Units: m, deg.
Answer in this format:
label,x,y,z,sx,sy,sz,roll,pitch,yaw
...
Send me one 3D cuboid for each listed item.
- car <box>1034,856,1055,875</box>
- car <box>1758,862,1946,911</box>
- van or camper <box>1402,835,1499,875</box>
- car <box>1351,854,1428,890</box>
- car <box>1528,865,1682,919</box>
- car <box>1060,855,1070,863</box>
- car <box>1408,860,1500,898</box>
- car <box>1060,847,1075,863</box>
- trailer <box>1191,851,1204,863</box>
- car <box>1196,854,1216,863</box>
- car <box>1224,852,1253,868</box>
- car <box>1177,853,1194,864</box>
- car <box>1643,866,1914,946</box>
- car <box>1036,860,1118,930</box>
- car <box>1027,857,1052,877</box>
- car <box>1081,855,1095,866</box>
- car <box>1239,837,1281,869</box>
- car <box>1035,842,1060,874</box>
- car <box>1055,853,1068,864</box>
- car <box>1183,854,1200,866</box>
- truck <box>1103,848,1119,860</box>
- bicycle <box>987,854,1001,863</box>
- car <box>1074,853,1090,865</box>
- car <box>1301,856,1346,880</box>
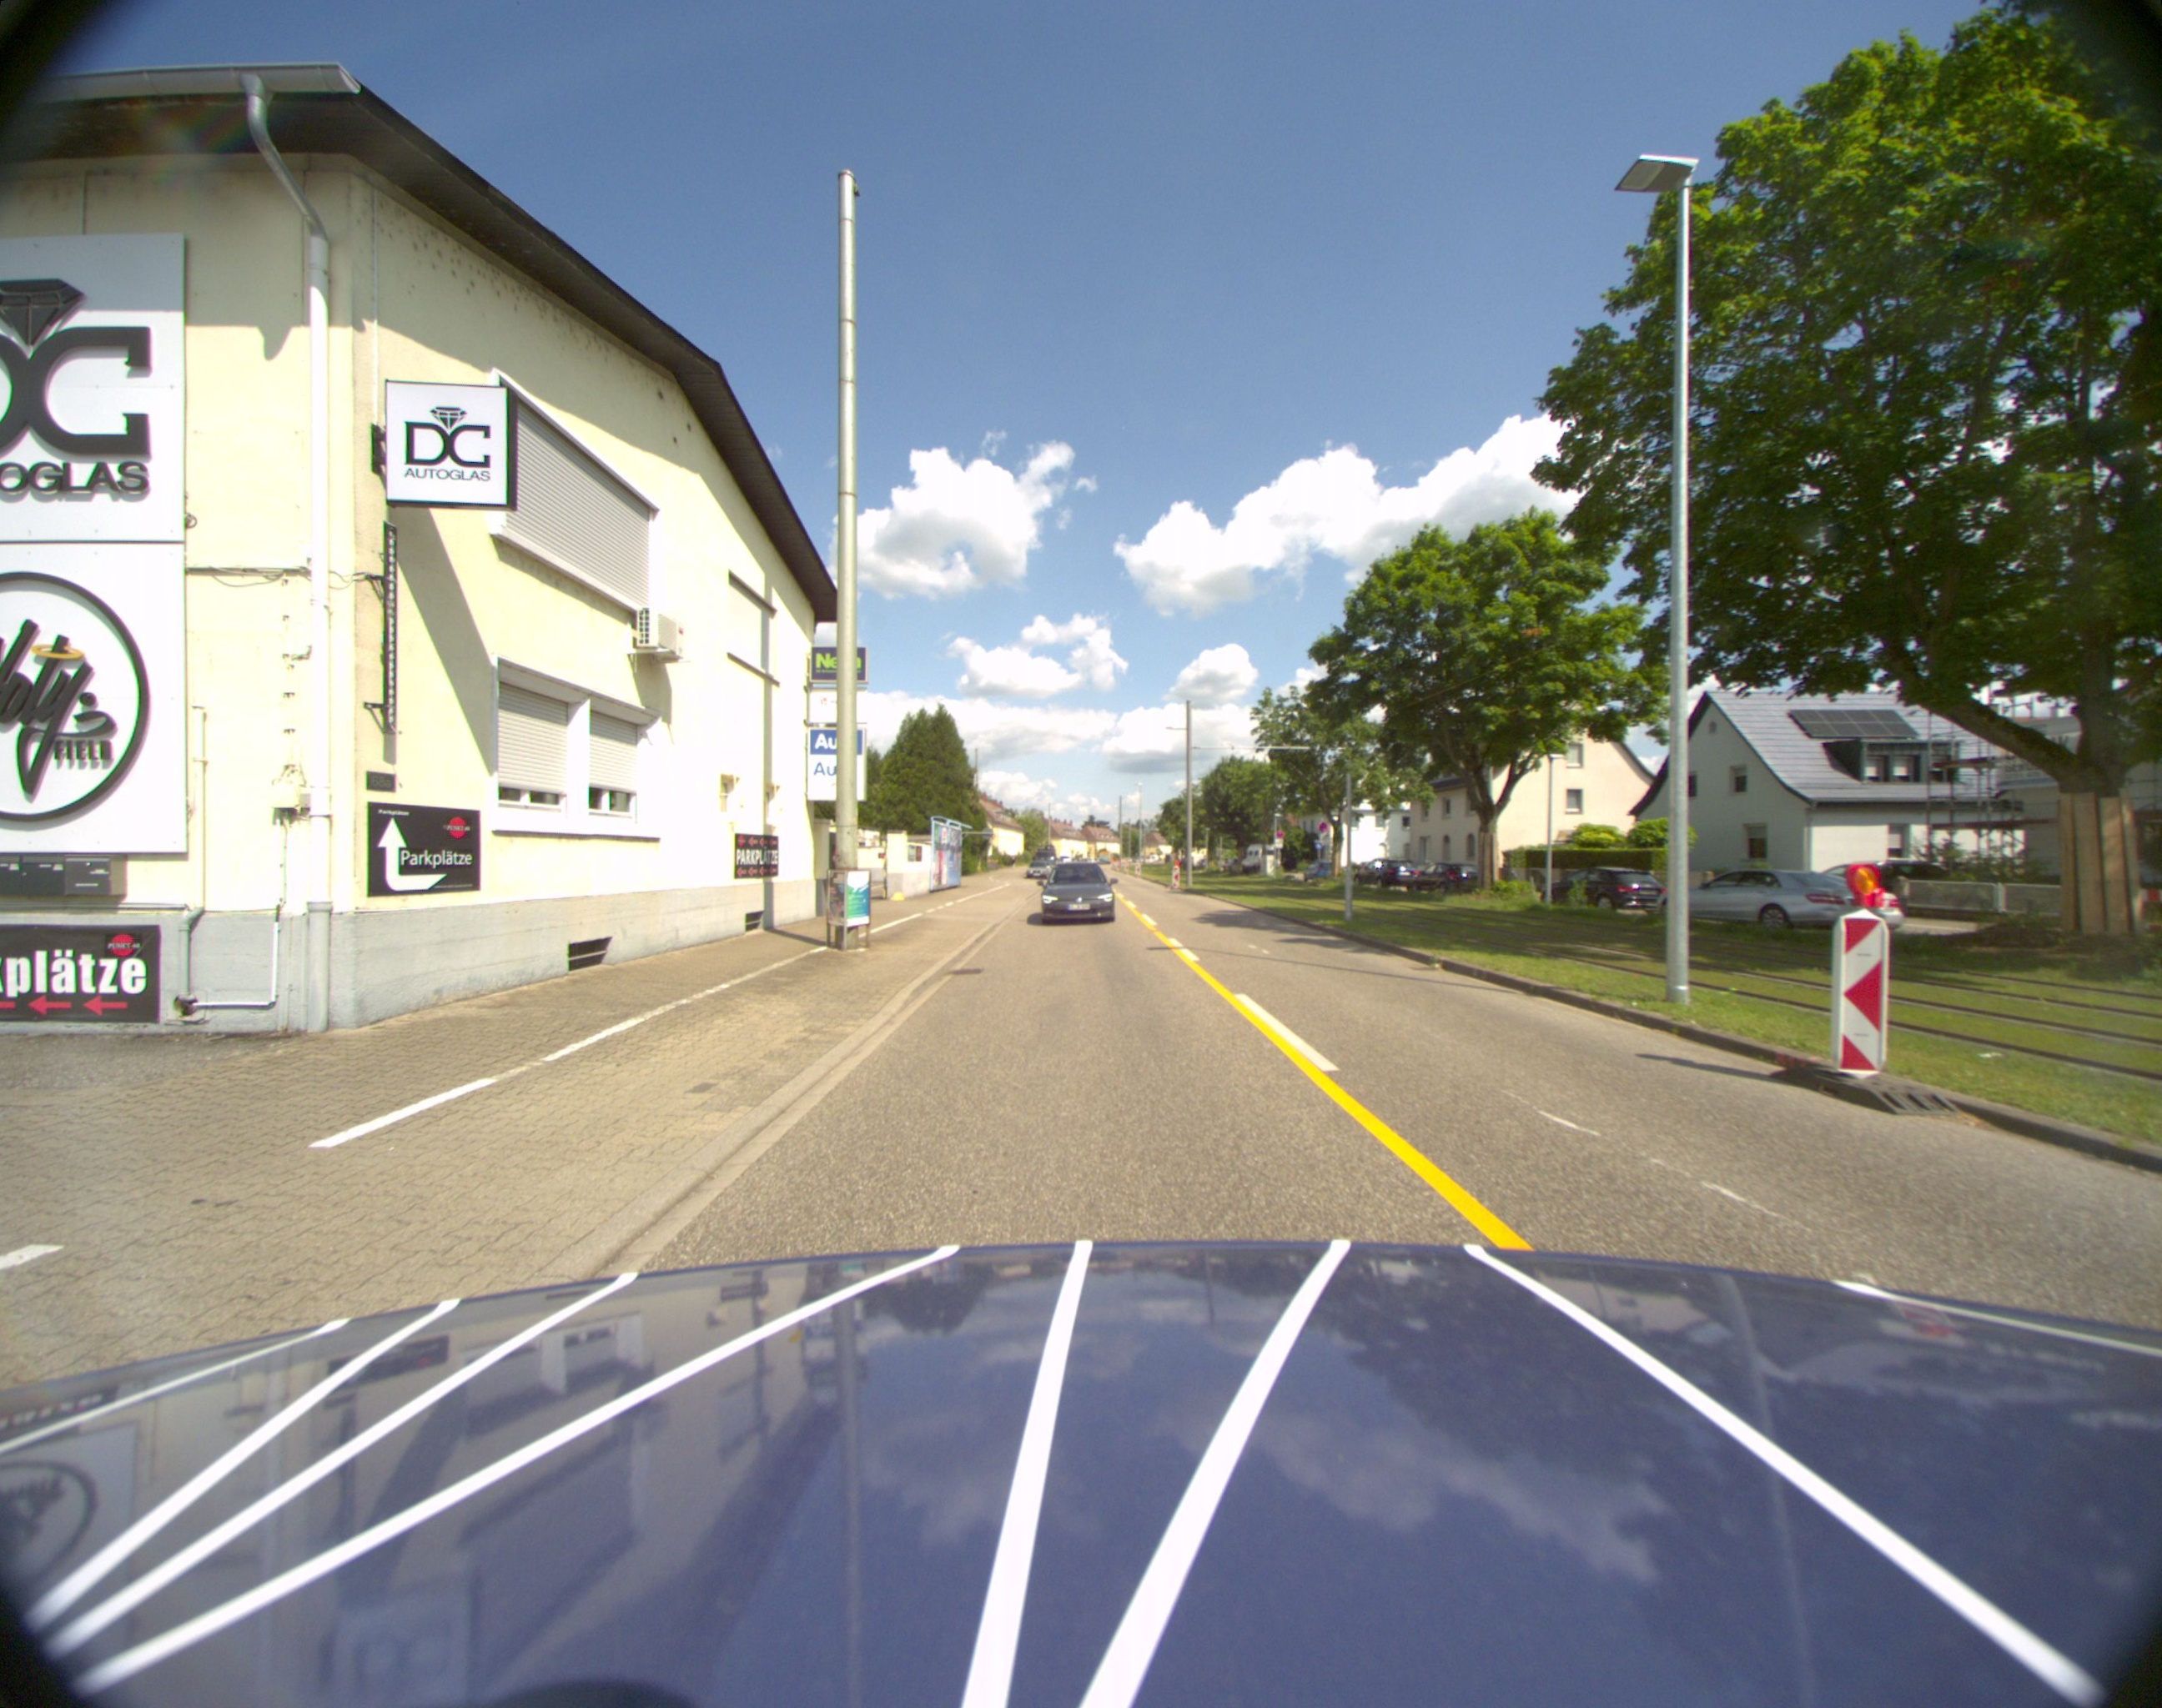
label,x,y,z,sx,sy,sz,roll,pitch,yaw
car,-3.110,0.961,64.288,1.696,1.507,4.354,1,1,-2
car,24.457,1.015,24.223,3.997,1.393,1.982,-1,1,0
van or camper,30.517,0.056,62.996,6.745,3.203,2.634,0,0,0
car,15.921,0.878,39.449,1.999,1.681,4.389,1,1,-3
car,15.847,1.090,23.269,1.999,1.310,3.852,3,1,0
car,-2.479,0.793,119.964,1.358,1.299,3.542,1,1,1
car,16.199,1.063,33.284,1.999,1.430,3.999,2,1,0
car,-2.245,0.177,124.680,1.923,2.522,5.346,1,0,4
trailer,15.528,0.375,101.241,1.302,1.510,2.281,1,1,0
car,15.724,0.564,95.786,1.786,1.087,3.835,1,1,0
car,15.751,0.571,76.164,1.998,1.497,4.485,1,1,0
car,15.983,0.709,116.758,1.998,1.531,4.322,1,1,1
car,15.954,1.086,17.861,1.809,1.474,4.939,1,1,0
car,-0.145,0.956,19.507,1.786,1.412,4.288,-3,1,-1
car,-3.202,1.012,59.404,1.655,1.423,4.096,1,1,1
car,1.232,1.035,125.405,1.998,1.791,4.001,0,0,5
car,15.712,-0.082,67.109,1.999,2.714,6.461,1,0,-2
car,-3.063,0.337,70.184,2.001,2.744,4.878,1,0,0
car,-2.804,0.688,111.499,1.756,1.480,4.627,1,0,0
car,16.154,0.893,111.408,1.910,1.568,4.101,3,-1,1
truck,7.492,-0.084,189.516,2.530,2.931,7.867,1,1,12
bicycle,-10.474,0.564,91.212,1.694,1.096,0.290,0,1,0
car,0.126,0.673,103.147,1.999,1.566,3.999,0,0,-1
car,15.737,0.877,49.456,1.758,1.427,3.889,1,1,2
